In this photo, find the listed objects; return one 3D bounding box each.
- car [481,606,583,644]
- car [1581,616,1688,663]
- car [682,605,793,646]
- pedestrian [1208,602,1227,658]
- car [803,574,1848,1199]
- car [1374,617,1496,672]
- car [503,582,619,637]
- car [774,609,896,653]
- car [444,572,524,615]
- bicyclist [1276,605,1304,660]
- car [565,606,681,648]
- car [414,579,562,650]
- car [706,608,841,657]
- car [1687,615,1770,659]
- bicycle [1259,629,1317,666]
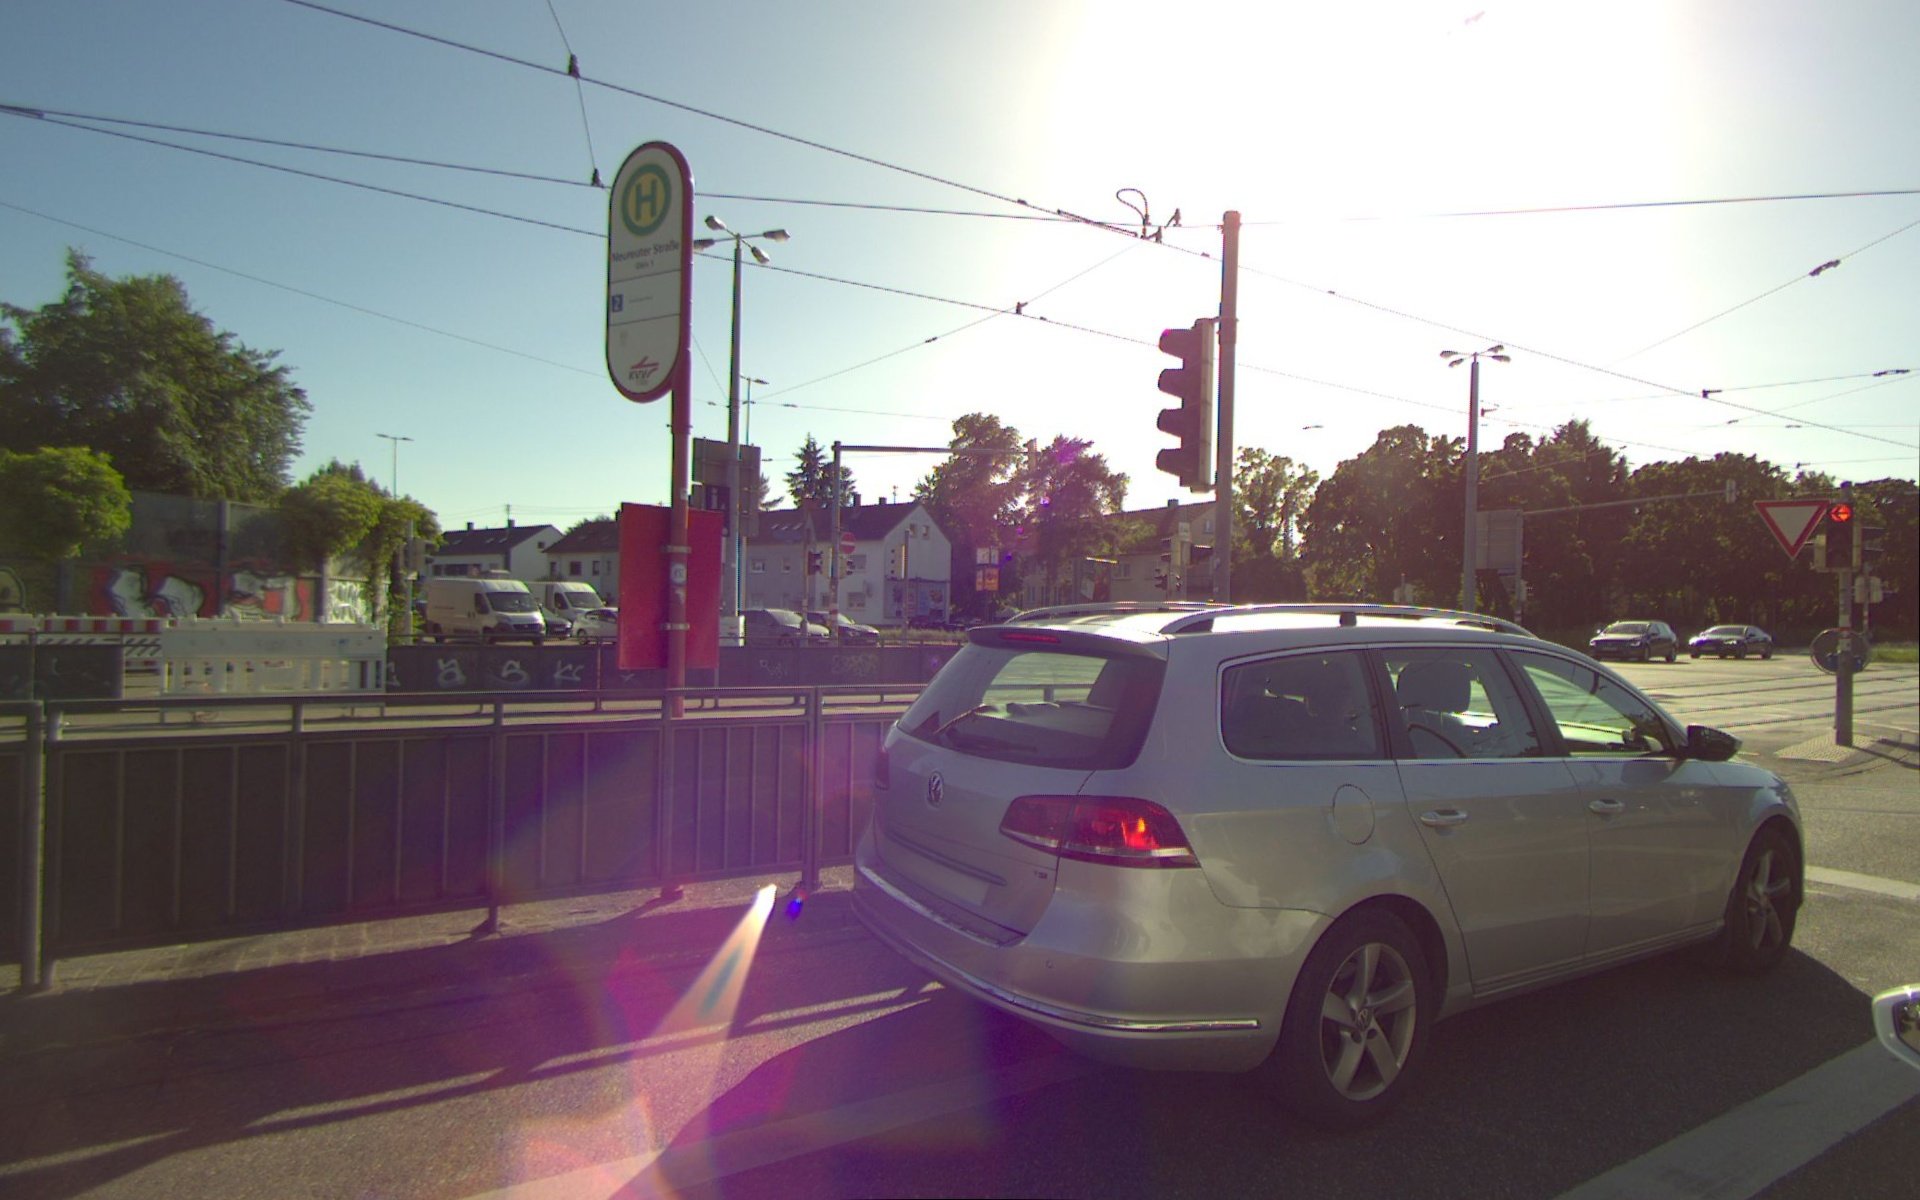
[{"bbox_3d":[-18.036,1.045,42.284,4.185,1.486,1.933,0,-1,32],"label":"car"},{"bbox_3d":[25.091,1.442,37.330,4.647,1.617,1.801,1,-1,-36],"label":"car"},{"bbox_3d":[-8.923,0.983,40.184,4.185,1.486,1.933,1,0,32],"label":"car"},{"bbox_3d":[9.164,1.049,35.702,0.599,1.974,0.776,1,0,16],"label":"pedestrian"},{"bbox_3d":[1.739,0.774,4.244,4.372,1.548,1.867,2,-1,-32],"label":"car"},{"bbox_3d":[13.793,1.266,29.119,3.668,1.478,1.671,2,-1,-36],"label":"car"},{"bbox_3d":[-18.802,0.452,47.229,5.822,2.443,2.175,0,-1,34],"label":"car"},{"bbox_3d":[-4.593,1.099,36.789,4.175,1.486,1.933,1,-1,32],"label":"car"},{"bbox_3d":[-23.862,-0.312,50.336,3.930,2.040,1.804,0,-1,32],"label":"car"},{"bbox_3d":[9.922,0.963,30.173,0.641,1.629,0.487,1,-1,-31],"label":"bicyclist"},{"bbox_3d":[-12.852,1.014,38.240,4.290,1.486,1.933,0,-1,32],"label":"car"},{"bbox_3d":[-18.144,0.531,38.412,6.763,2.490,2.339,0,-1,38],"label":"car"},{"bbox_3d":[-6.303,1.067,33.834,4.556,1.496,1.668,0,-1,32],"label":"car"},{"bbox_3d":[32.030,1.534,41.838,3.965,1.710,1.778,2,-1,-37],"label":"car"},{"bbox_3d":[9.850,1.417,30.127,1.926,1.056,0.504,1,-1,-31],"label":"bicycle"}]
